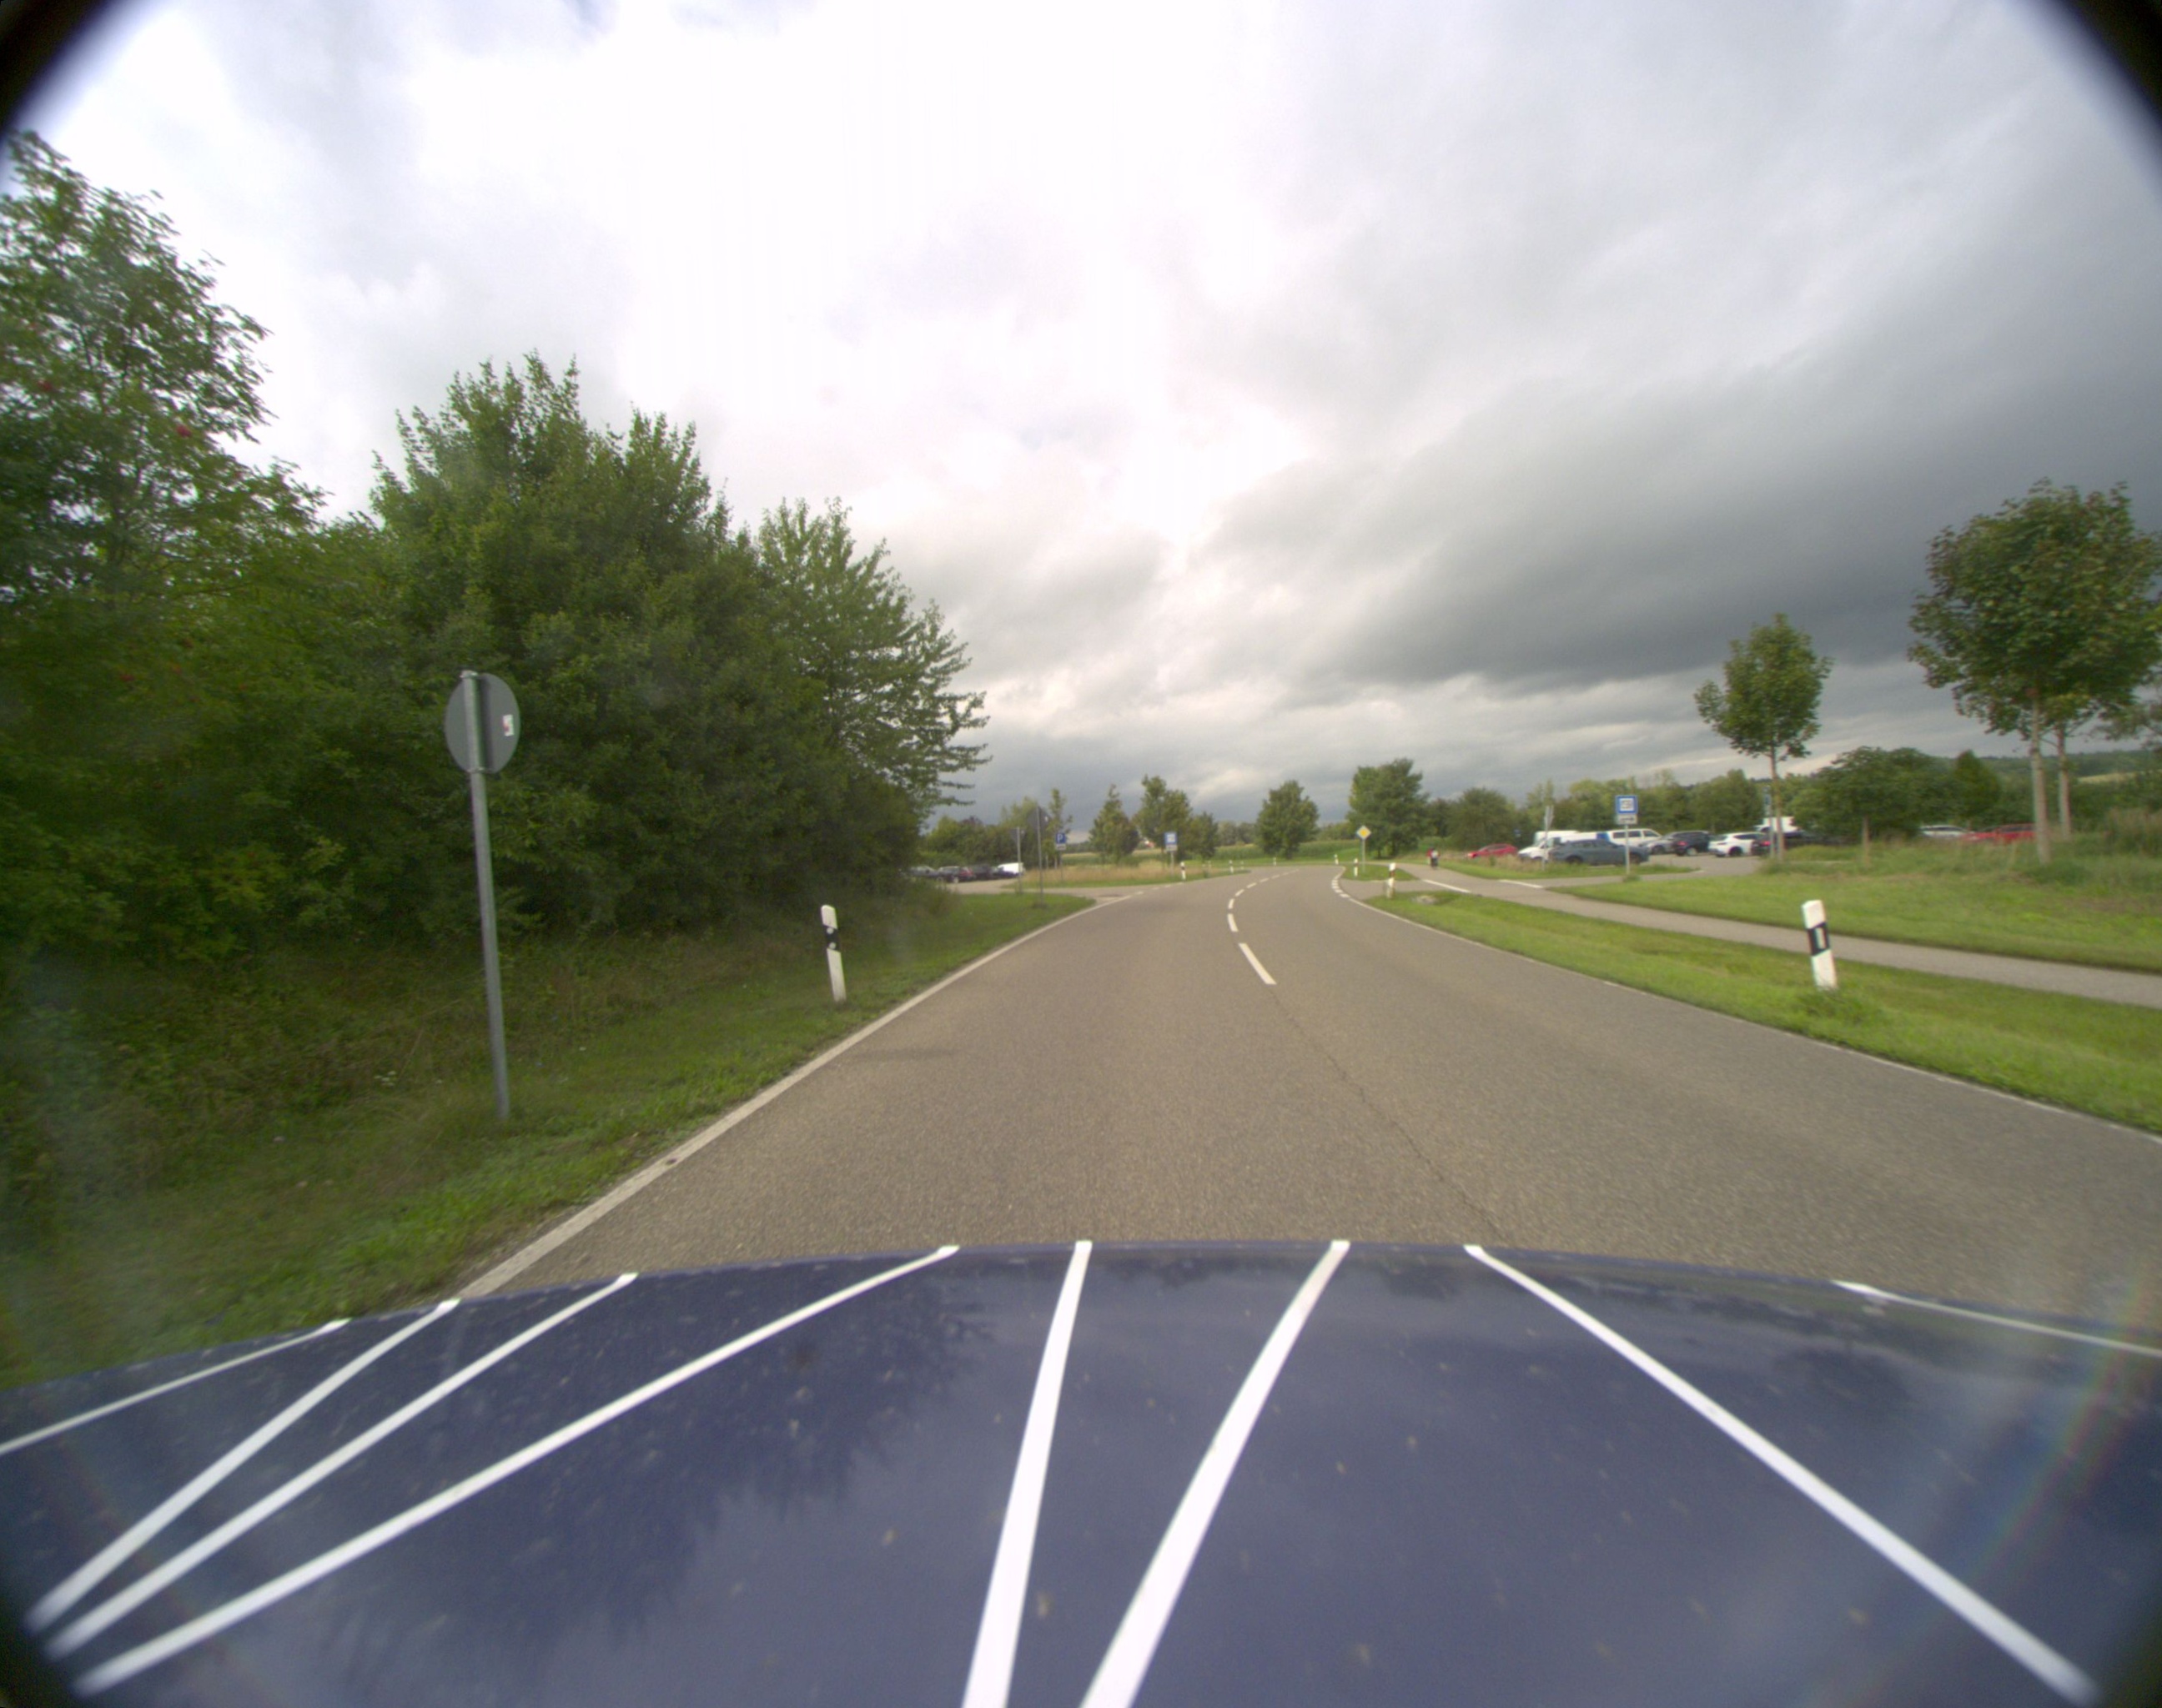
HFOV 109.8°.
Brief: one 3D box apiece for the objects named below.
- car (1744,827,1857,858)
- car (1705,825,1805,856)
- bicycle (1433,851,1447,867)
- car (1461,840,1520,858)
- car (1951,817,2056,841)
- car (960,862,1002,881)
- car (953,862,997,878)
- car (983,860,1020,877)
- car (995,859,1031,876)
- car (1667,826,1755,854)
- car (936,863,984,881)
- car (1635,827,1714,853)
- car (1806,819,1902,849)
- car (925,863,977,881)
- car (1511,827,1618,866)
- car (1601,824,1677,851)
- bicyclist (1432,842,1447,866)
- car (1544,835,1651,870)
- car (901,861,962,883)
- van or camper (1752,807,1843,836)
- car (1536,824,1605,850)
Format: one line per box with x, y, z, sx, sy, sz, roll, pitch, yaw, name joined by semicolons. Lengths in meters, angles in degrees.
38.750;-0.619;41.027;3.994;1.379;1.844;-4;0;12;car
40.395;-0.771;45.654;3.994;1.543;1.967;-4;0;12;car
24.119;0.318;51.092;0.636;1.026;2.194;-2;0;21;bicycle
36.753;-0.475;68.303;4.369;1.408;1.816;-3;0;19;car
59.850;-1.588;49.387;3.991;1.379;1.741;-2;0;21;car
-10.480;1.845;79.924;3.995;1.849;2.001;-2;0;6;car
-10.728;1.601;76.986;3.996;1.488;2.000;-2;0;2;car
-9.219;1.687;88.426;3.995;1.849;1.745;-2;0;6;car
-8.172;1.654;91.448;3.995;1.849;2.001;-2;0;6;car
41.798;-0.906;50.525;3.992;1.543;1.968;-4;0;19;car
-11.317;1.677;71.181;4.005;1.496;2.053;-2;0;9;car
43.204;-0.986;55.410;3.992;1.543;1.968;-4;0;19;car
45.505;-1.164;44.782;1.780;1.517;3.784;-3;0;-40;car
-11.555;1.622;67.665;4.162;1.406;2.000;-2;0;2;car
28.403;-0.423;44.835;4.900;2.002;2.059;-3;0;18;car
47.163;-1.386;64.369;4.687;1.914;2.064;-4;0;18;car
24.134;0.009;51.162;0.831;1.556;1.057;-3;0;23;bicyclist
27.111;-0.060;40.028;4.253;1.585;2.003;-3;0;19;car
-12.126;1.454;61.721;4.488;1.572;2.000;-2;0;2;car
70.506;-3.150;74.888;6.036;2.333;2.289;-4;0;21;van or camper
57.222;-1.953;89.002;6.322;2.604;2.204;-3;0;19;car
